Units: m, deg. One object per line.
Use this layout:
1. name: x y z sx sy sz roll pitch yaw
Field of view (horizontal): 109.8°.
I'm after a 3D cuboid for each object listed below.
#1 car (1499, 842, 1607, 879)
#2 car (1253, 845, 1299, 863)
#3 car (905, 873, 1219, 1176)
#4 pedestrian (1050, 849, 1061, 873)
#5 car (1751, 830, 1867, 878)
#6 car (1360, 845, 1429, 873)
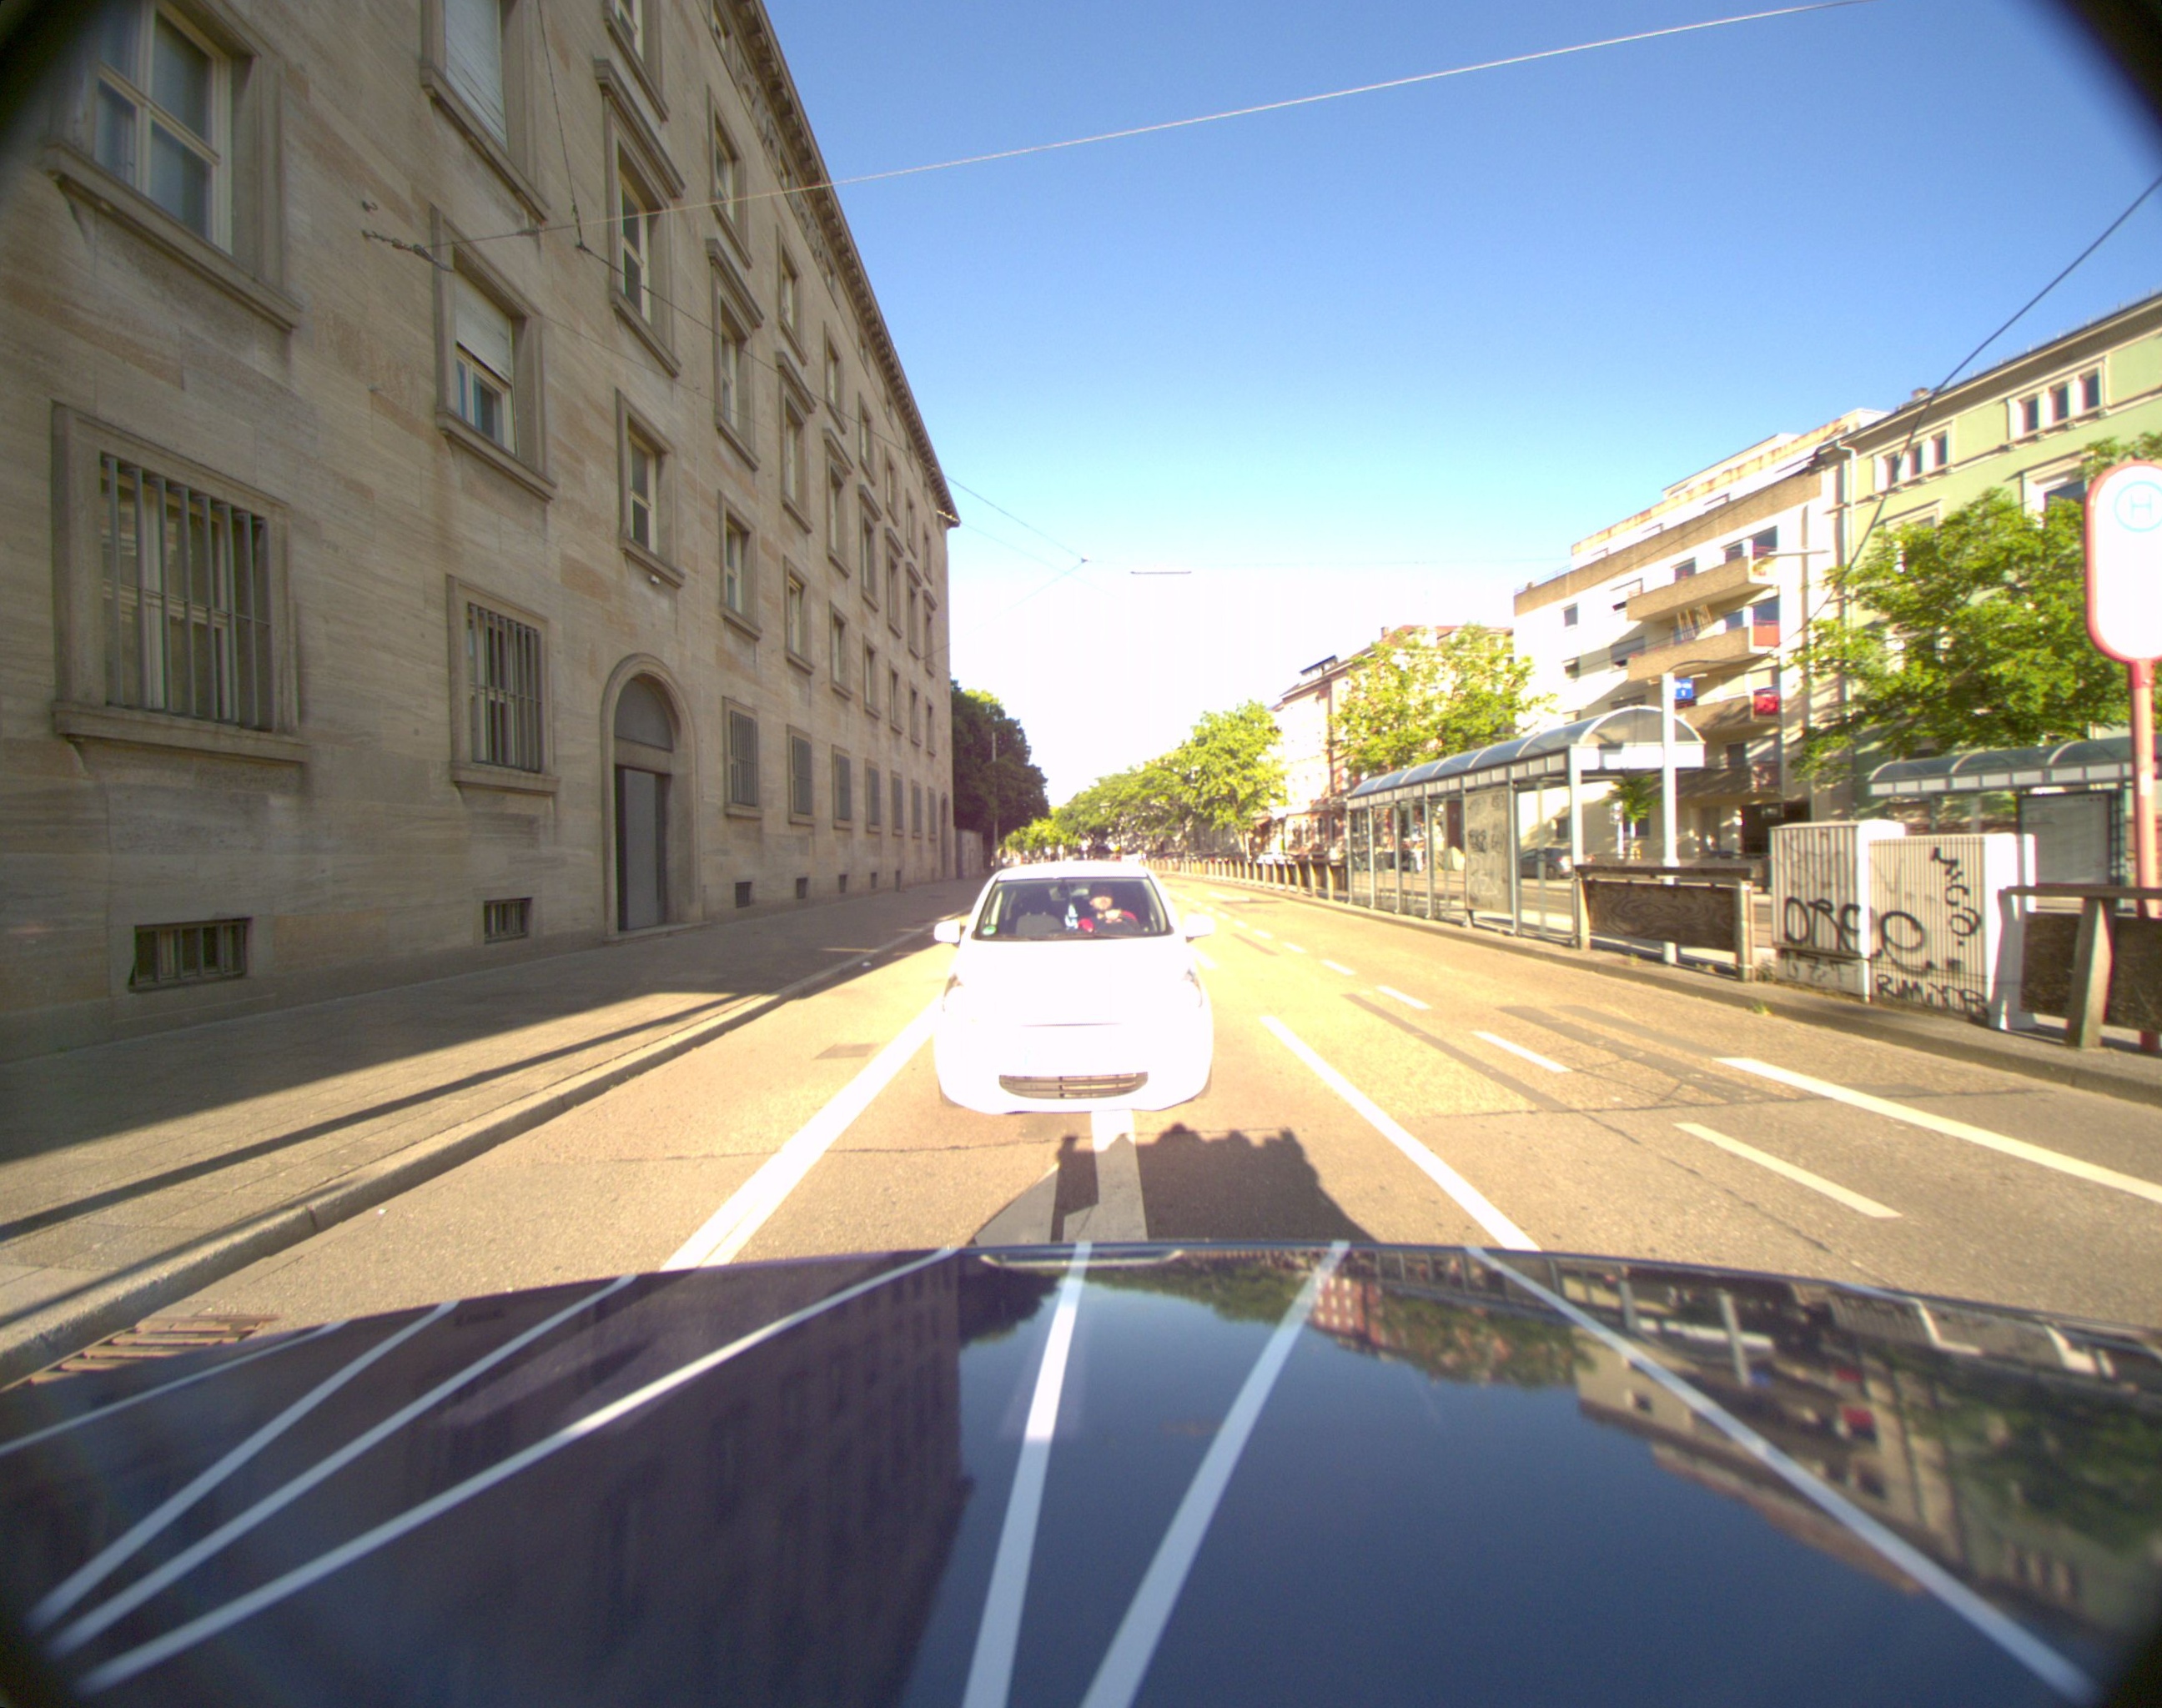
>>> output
1. car: 21.050 0.274 34.092 2.000 1.521 3.997 1 0 -8
2. car: 16.258 0.006 63.250 3.648 1.342 1.578 -2 1 -29
3. car: -0.076 0.939 5.784 1.606 1.455 3.621 -1 0 1
4. pedestrian: -1.749 0.478 52.376 0.686 1.673 0.928 -1 1 0
5. car: 31.959 -0.021 33.374 4.001 2.002 1.798 -1 1 -13
6. car: 18.339 0.278 44.708 2.000 1.521 3.997 -1 0 -8
